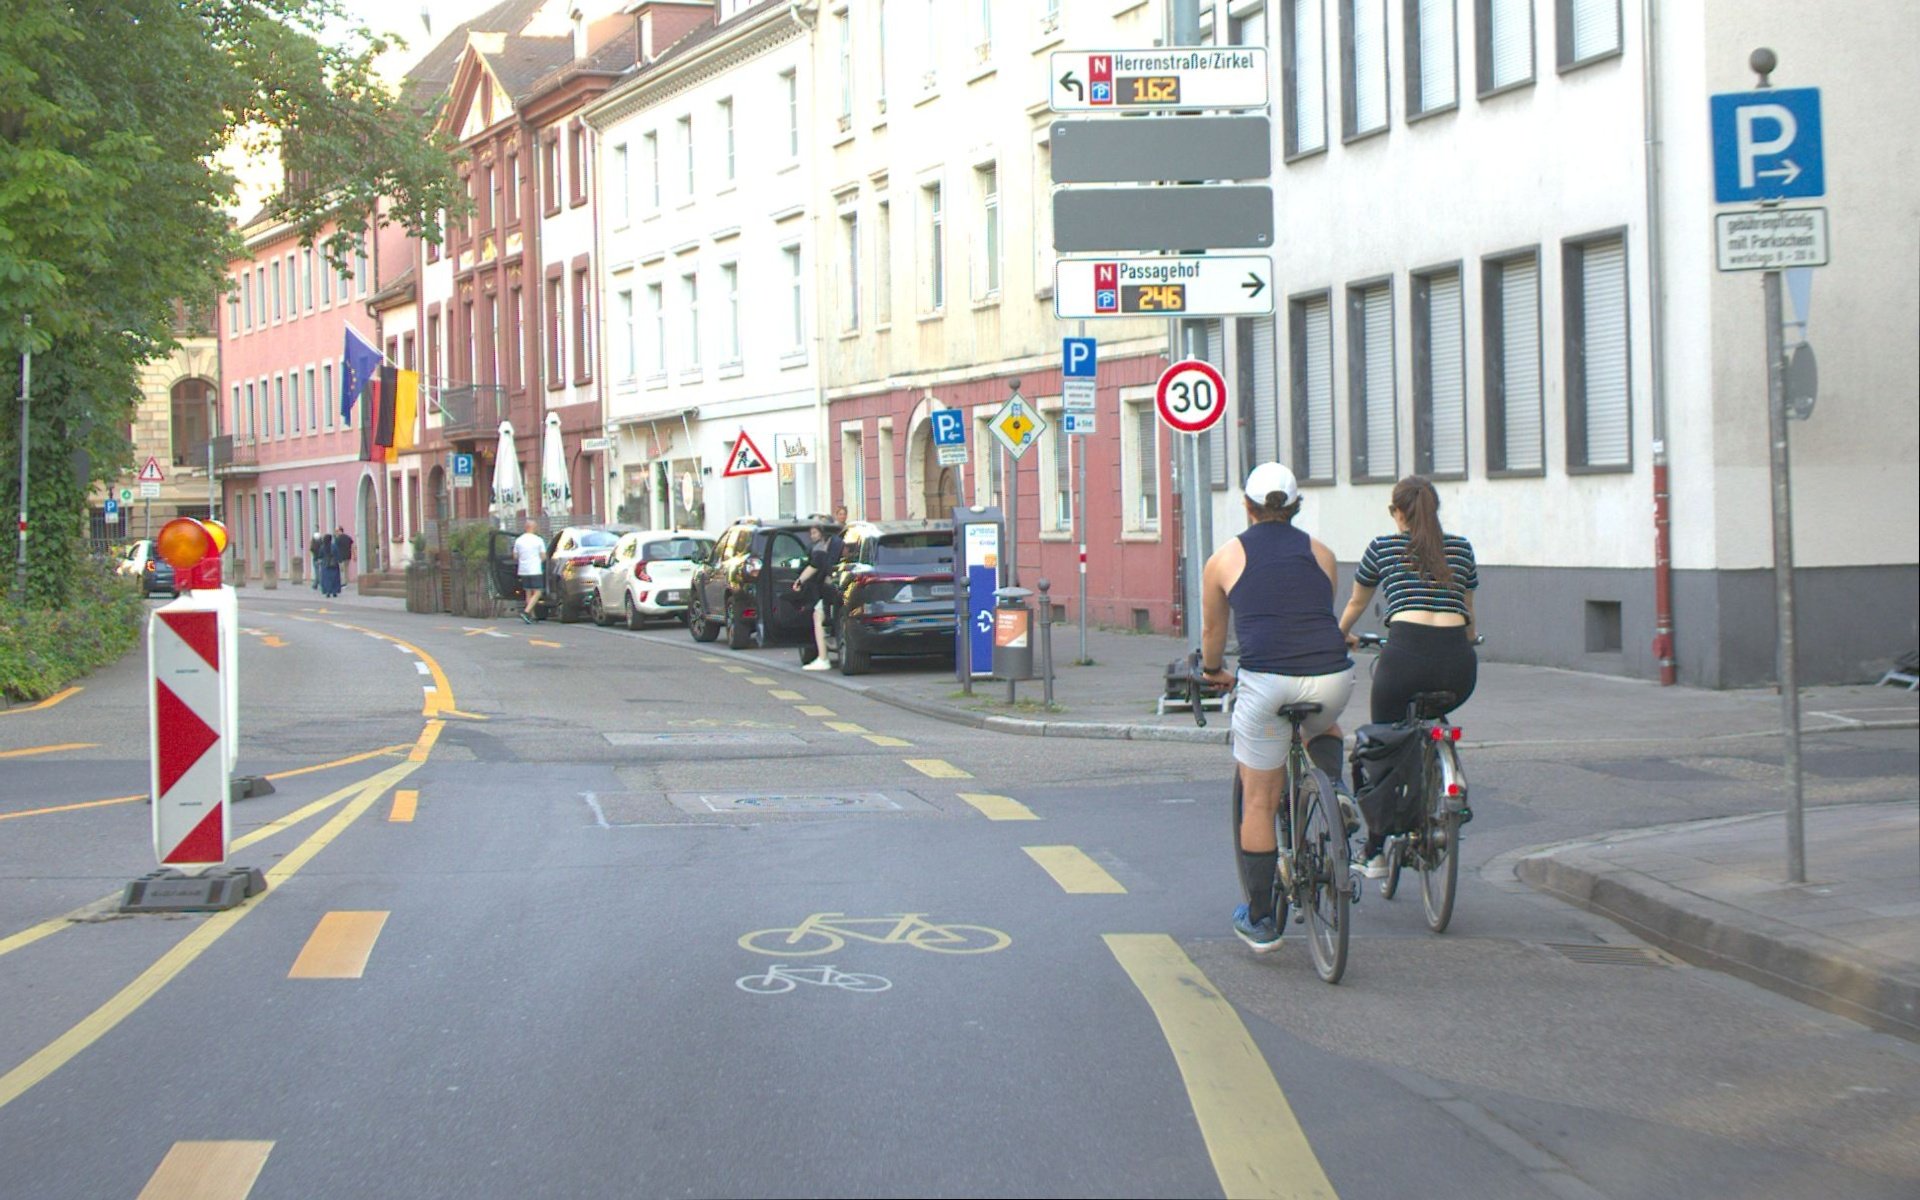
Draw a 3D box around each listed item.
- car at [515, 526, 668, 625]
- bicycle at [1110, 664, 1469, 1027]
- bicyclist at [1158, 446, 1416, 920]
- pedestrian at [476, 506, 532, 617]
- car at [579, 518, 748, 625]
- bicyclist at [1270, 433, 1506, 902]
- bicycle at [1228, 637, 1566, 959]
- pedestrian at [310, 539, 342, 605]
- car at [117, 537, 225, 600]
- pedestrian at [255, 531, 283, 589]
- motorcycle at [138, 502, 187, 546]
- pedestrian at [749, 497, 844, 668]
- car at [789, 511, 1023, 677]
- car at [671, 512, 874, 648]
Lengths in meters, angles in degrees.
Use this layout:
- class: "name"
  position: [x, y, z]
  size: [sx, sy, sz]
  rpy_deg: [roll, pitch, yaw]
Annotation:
- class: "car"
  position: [-6.158, -0.432, 57.156]
  size: [1.812, 1.554, 3.866]
  rpy_deg: [-1, 1, -17]
- class: "bicycle"
  position: [1.086, 0.790, 11.798]
  size: [0.669, 1.067, 1.902]
  rpy_deg: [0, 1, -12]
- class: "bicyclist"
  position: [1.105, 0.271, 11.719]
  size: [0.668, 1.560, 0.699]
  rpy_deg: [1, 1, -12]
- class: "pedestrian"
  position: [-7.639, -0.650, 57.604]
  size: [0.831, 1.838, 0.958]
  rpy_deg: [0, 2, -1]
- class: "car"
  position: [-4.618, -0.467, 53.076]
  size: [1.812, 1.554, 3.866]
  rpy_deg: [-1, 1, -17]
- class: "bicyclist"
  position: [1.645, 0.245, 13.324]
  size: [0.649, 1.754, 0.864]
  rpy_deg: [1, 2, -10]
- class: "bicycle"
  position: [1.641, 0.717, 13.318]
  size: [0.652, 1.067, 2.259]
  rpy_deg: [1, 1, -10]
- class: "pedestrian"
  position: [-17.149, -0.762, 93.041]
  size: [0.750, 1.756, 0.586]
  rpy_deg: [-1, 1, -19]
- class: "car"
  position: [-20.288, -0.837, 88.322]
  size: [1.812, 1.554, 3.865]
  rpy_deg: [-1, 2, -27]
- class: "pedestrian"
  position: [-18.955, -1.090, 94.299]
  size: [0.667, 1.576, 0.586]
  rpy_deg: [-1, 1, -19]
- class: "motorcycle"
  position: [-23.262, -2.219, 100.298]
  size: [1.041, 1.244, 2.399]
  rpy_deg: [-1, 1, -21]
- class: "pedestrian"
  position: [-1.809, -0.201, 37.977]
  size: [0.900, 1.859, 0.932]
  rpy_deg: [-1, 1, -11]
- class: "car"
  position: [-0.648, -0.104, 37.250]
  size: [1.812, 1.676, 3.921]
  rpy_deg: [-1, 1, -12]
- class: "car"
  position: [-2.512, -0.296, 45.137]
  size: [1.812, 1.678, 4.001]
  rpy_deg: [-1, 1, -16]
